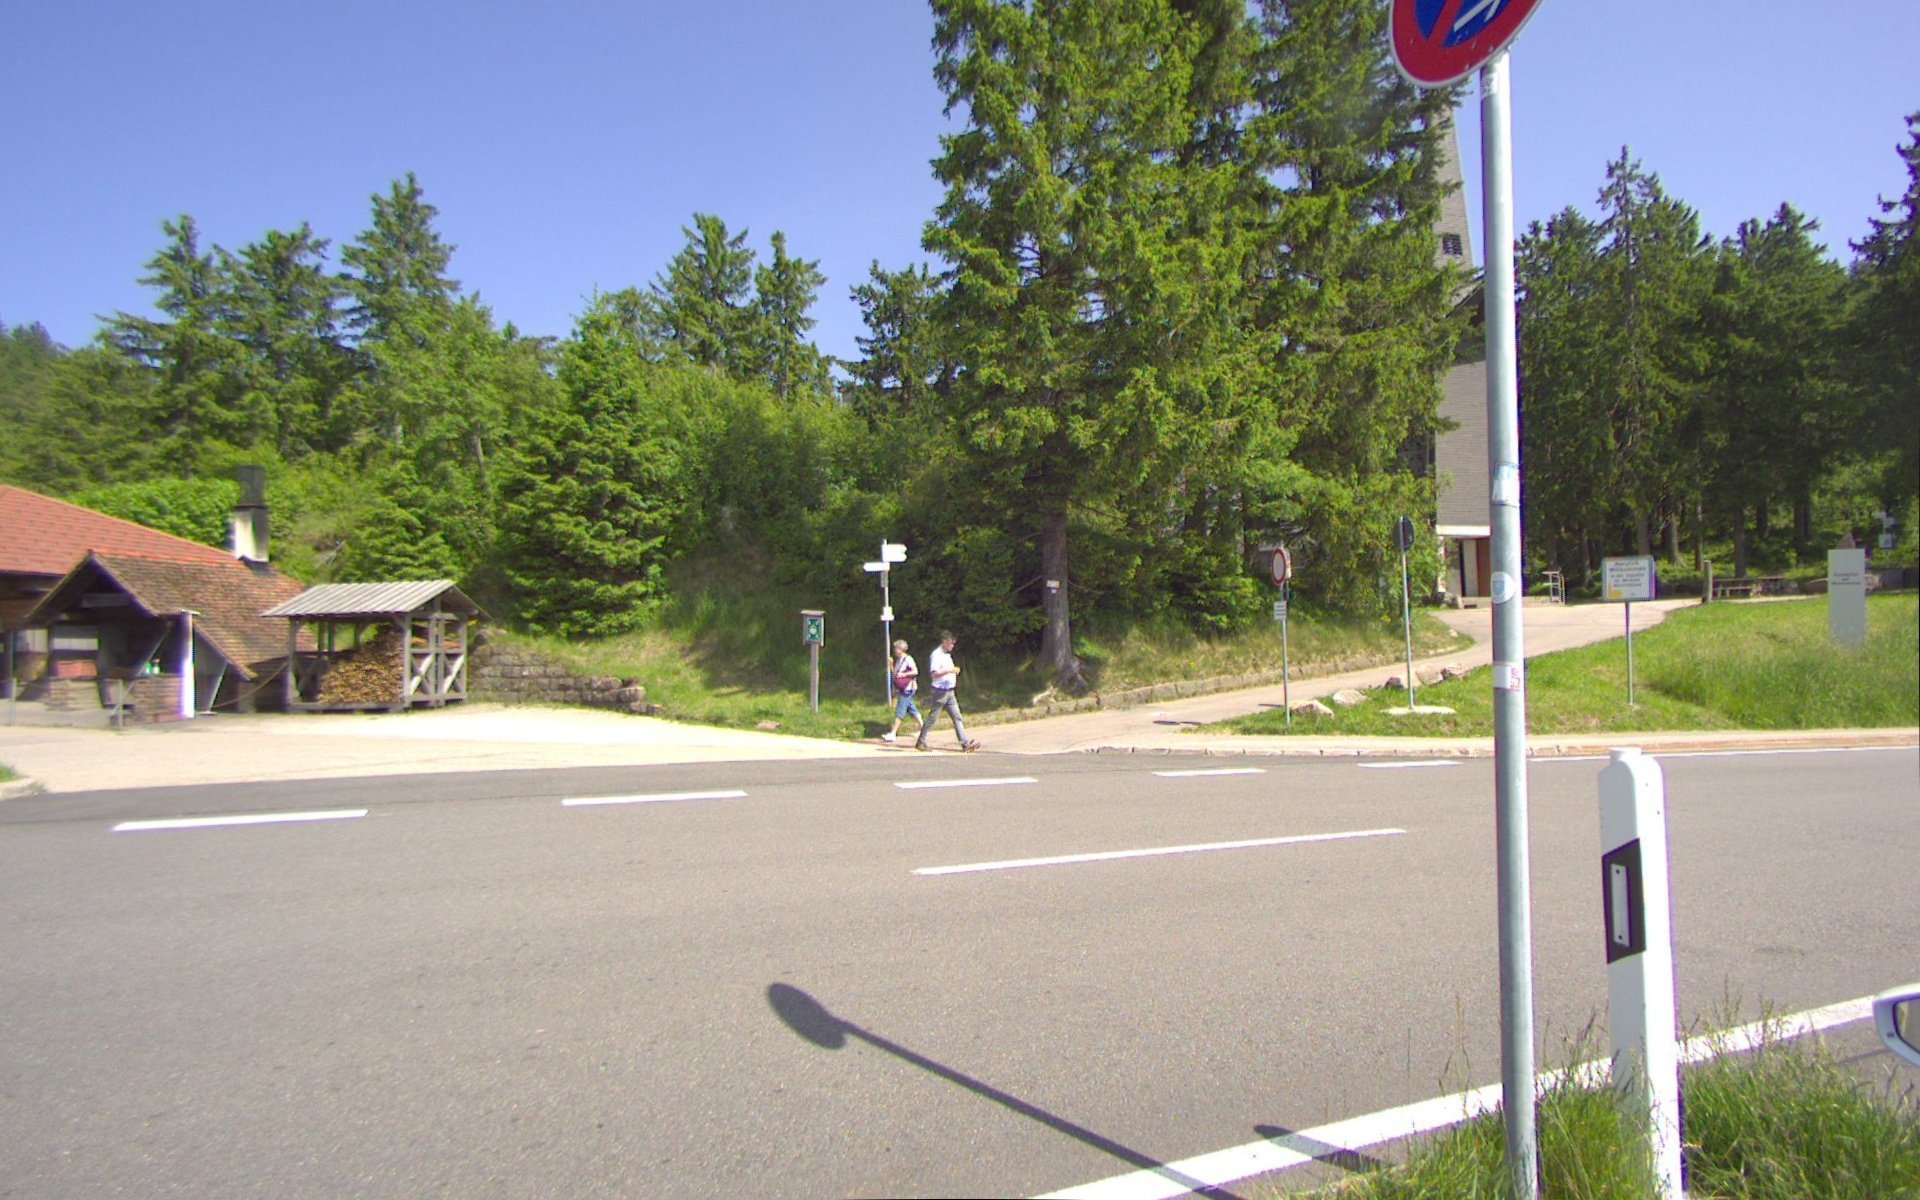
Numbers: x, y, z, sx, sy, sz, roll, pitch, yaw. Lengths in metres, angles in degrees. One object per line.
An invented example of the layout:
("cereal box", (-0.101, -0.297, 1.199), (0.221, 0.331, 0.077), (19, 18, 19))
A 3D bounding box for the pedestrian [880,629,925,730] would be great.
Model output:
("pedestrian", (-1.000, 1.368, 17.446), (0.671, 1.703, 0.720), (1, -3, -12))

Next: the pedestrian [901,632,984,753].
("pedestrian", (-0.232, 1.341, 14.794), (1.139, 1.720, 0.980), (0, -3, 4))
